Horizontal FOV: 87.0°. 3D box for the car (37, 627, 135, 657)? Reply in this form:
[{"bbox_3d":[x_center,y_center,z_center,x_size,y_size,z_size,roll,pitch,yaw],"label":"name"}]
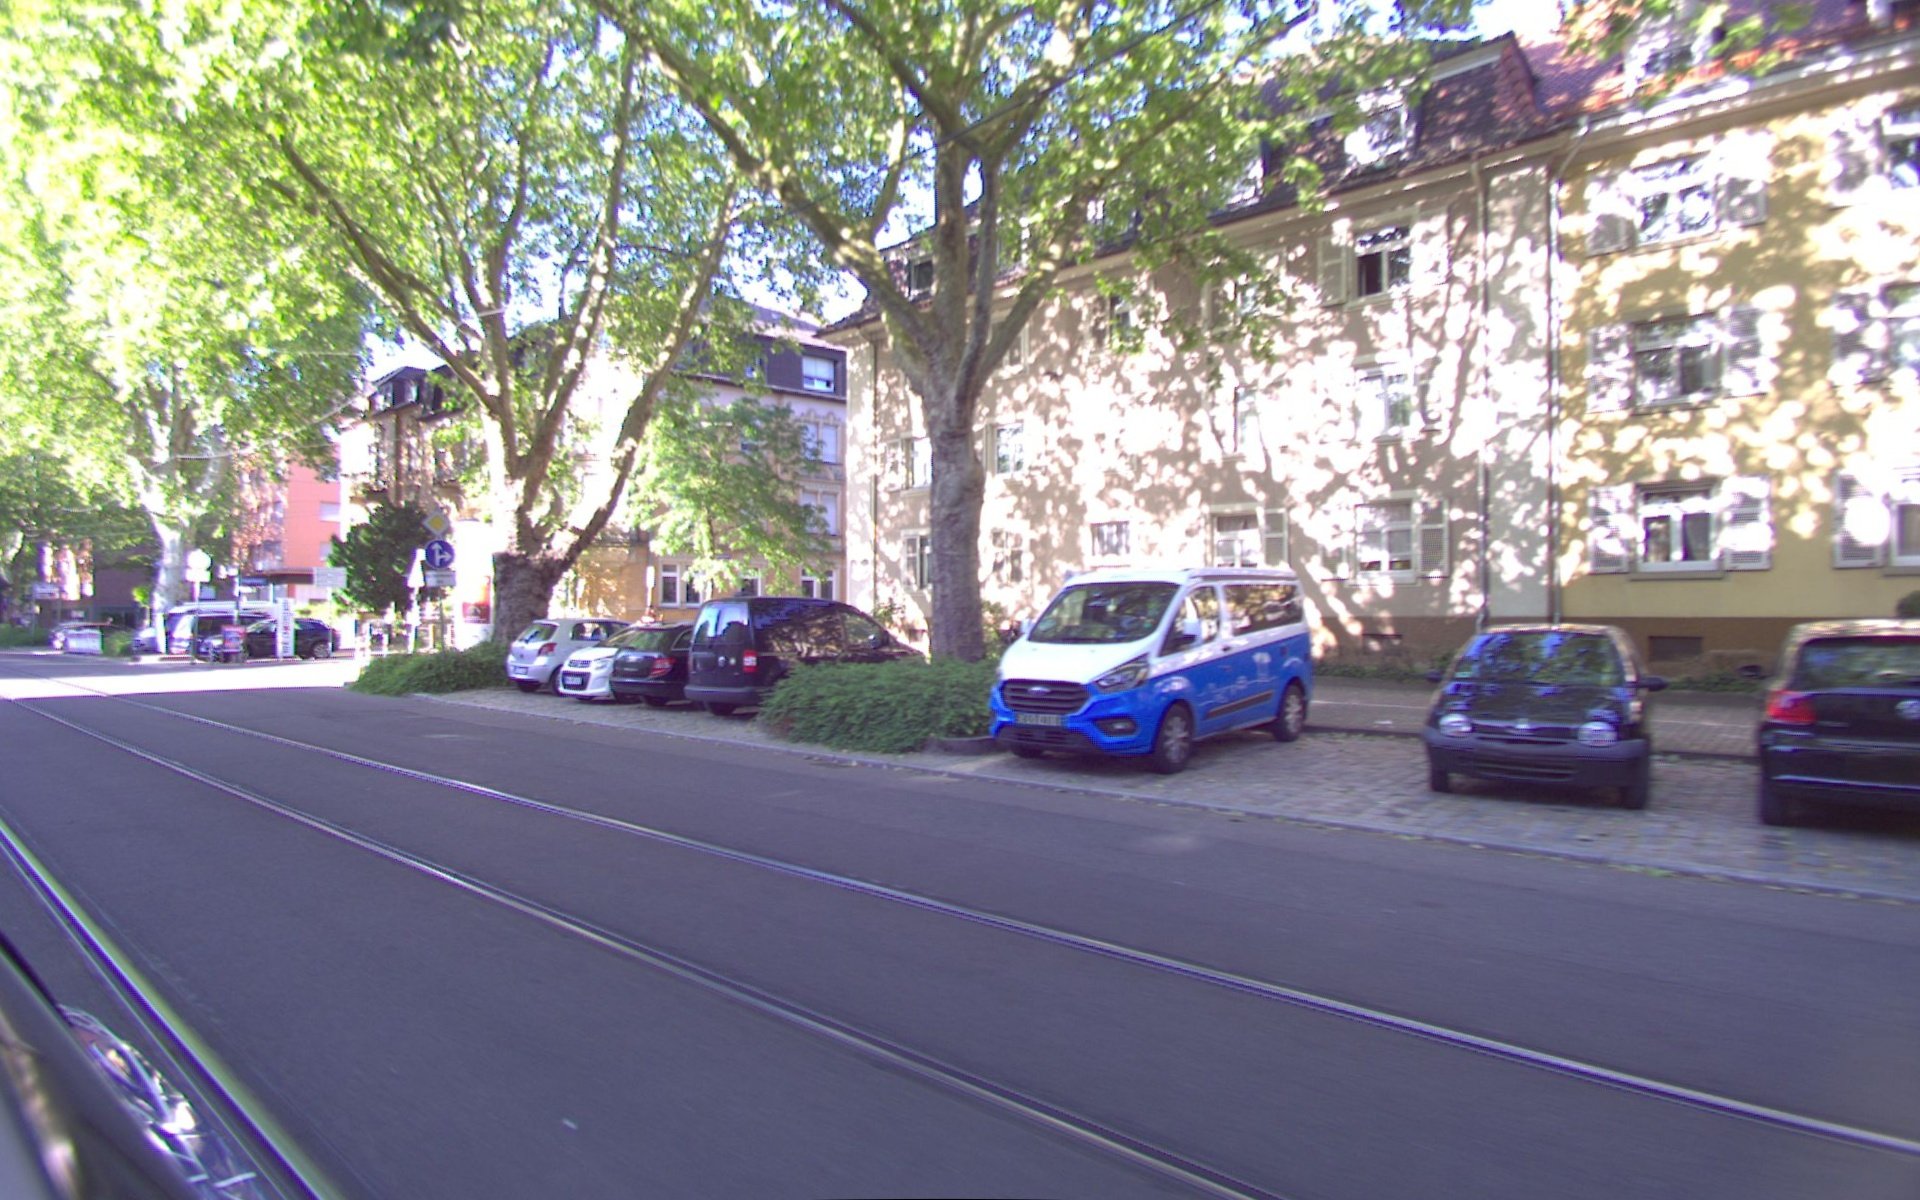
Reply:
[{"bbox_3d":[-48.934,2.325,56.700,1.809,1.527,3.917,-2,-2,39],"label":"car"}]

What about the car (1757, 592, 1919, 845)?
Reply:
[{"bbox_3d":[7.250,0.744,7.620,1.613,1.577,3.641,-1,-1,44],"label":"car"}]

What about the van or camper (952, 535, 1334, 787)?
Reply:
[{"bbox_3d":[2.268,0.556,11.381,2.118,2.206,4.770,-1,-1,40],"label":"van or camper"}]

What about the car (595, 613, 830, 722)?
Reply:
[{"bbox_3d":[-4.150,1.058,17.398,1.796,1.636,3.649,-1,-1,36],"label":"car"}]

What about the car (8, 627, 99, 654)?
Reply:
[{"bbox_3d":[-54.582,2.430,60.977,1.809,1.527,3.917,-2,-2,39],"label":"car"}]

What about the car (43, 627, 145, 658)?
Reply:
[{"bbox_3d":[-46.422,2.242,54.282,1.809,1.527,3.917,-2,-2,39],"label":"car"}]

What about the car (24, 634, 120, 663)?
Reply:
[{"bbox_3d":[-50.922,2.745,58.089,1.809,1.527,3.917,-2,-2,39],"label":"car"}]

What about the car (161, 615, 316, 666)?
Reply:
[{"bbox_3d":[-27.223,1.489,38.283,2.026,1.779,4.408,-2,-2,39],"label":"car"}]

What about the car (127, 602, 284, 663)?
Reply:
[{"bbox_3d":[-31.451,1.320,42.325,2.026,2.416,4.956,-2,-2,39],"label":"car"}]

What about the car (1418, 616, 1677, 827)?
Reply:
[{"bbox_3d":[5.408,0.905,9.169,1.692,1.471,3.500,-1,-1,35],"label":"car"}]

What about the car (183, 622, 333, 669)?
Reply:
[{"bbox_3d":[-25.254,1.603,36.499,1.924,1.527,4.118,-2,-2,39],"label":"car"}]

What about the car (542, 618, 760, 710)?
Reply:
[{"bbox_3d":[-5.672,1.117,18.914,1.698,1.497,3.651,-1,-1,34],"label":"car"}]

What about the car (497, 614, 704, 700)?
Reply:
[{"bbox_3d":[-7.313,1.091,20.754,3.638,1.565,1.705,0,-1,-43],"label":"car"}]

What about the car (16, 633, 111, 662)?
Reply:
[{"bbox_3d":[-52.405,2.760,59.202,1.809,1.527,3.917,-2,-2,39],"label":"car"}]

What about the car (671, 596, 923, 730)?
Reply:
[{"bbox_3d":[-2.443,0.874,15.787,1.703,1.828,3.644,-1,-1,40],"label":"car"}]

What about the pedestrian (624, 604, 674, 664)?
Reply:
[{"bbox_3d":[-8.448,0.903,27.478,1.076,1.589,1.029,0,0,-31],"label":"pedestrian"}]
